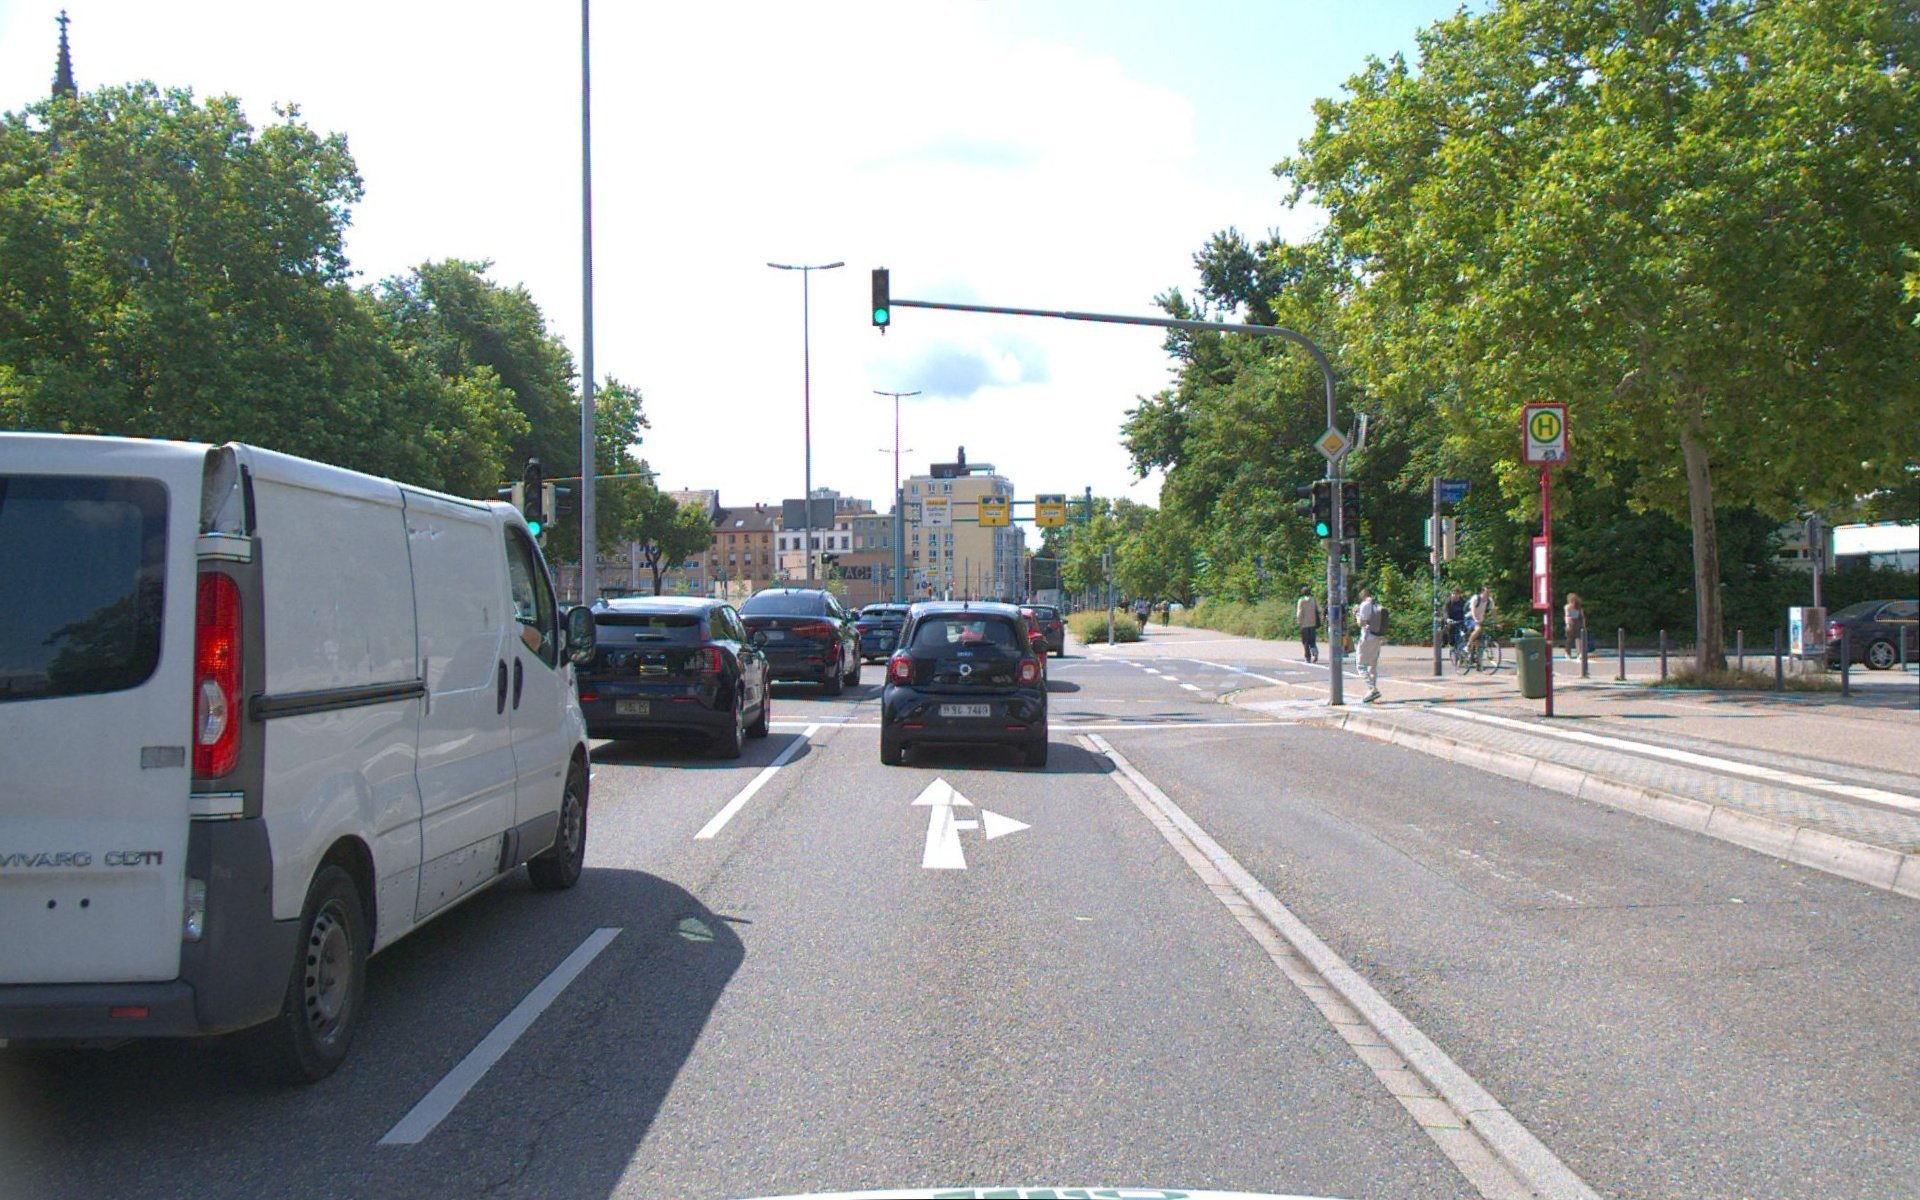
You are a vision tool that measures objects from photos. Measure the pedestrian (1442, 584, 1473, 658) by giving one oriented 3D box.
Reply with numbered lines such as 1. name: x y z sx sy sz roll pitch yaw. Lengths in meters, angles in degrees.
1. pedestrian: 12.535 0.525 41.675 0.656 1.852 0.704 0 0 10

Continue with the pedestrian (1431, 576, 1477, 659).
1. pedestrian: 11.399 0.393 38.217 0.835 1.851 1.177 2 0 10

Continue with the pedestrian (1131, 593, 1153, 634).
1. pedestrian: 7.926 0.576 71.904 0.833 1.730 0.931 -2 -1 2

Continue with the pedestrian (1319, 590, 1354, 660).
1. pedestrian: 9.408 0.614 41.389 0.778 1.734 1.183 0 0 10

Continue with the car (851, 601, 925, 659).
1. car: -1.741 0.711 40.681 1.578 1.348 3.518 0 0 1

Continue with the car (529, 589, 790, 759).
1. car: -3.021 0.692 17.695 1.976 1.557 4.885 0 0 -1

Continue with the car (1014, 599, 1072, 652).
1. car: 2.358 0.698 47.619 1.578 1.436 3.518 1 0 1

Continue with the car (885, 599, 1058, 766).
1. car: 0.151 0.770 17.061 1.578 1.511 3.518 1 0 1

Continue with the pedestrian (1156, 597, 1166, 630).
1. pedestrian: 11.860 0.799 97.553 0.491 1.924 0.560 1 -1 -1

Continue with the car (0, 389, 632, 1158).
1. car: -2.826 0.453 6.874 1.965 1.989 5.193 0 0 -1

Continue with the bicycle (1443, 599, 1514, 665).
1. bicycle: 10.797 0.654 34.489 0.648 1.319 1.870 1 -1 -9

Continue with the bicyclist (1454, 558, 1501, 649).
1. bicyclist: 10.812 0.076 34.572 0.648 1.878 0.760 1 -1 -8

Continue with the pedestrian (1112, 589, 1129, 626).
1. pedestrian: 8.751 0.402 90.186 0.821 2.003 0.861 0 -1 0

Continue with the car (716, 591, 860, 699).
1. car: -2.756 0.672 27.369 1.789 1.629 4.394 1 0 1

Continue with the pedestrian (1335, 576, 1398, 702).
1. pedestrian: 6.054 0.574 24.634 0.589 1.832 0.603 -2 0 -36

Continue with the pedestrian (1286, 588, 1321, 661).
1. pedestrian: 8.333 0.584 40.146 0.778 1.734 1.183 0 0 10

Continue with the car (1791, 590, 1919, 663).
1. car: 19.898 0.546 33.940 4.832 1.425 1.723 -1 -2 -2

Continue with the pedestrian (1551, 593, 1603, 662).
1. pedestrian: 15.379 0.679 41.252 0.838 1.654 1.019 -2 1 -5

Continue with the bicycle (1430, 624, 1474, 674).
1. bicycle: 11.330 1.113 38.129 0.798 1.091 1.893 0 0 11

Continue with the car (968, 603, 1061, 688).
1. car: 0.995 0.793 30.424 1.578 1.436 3.518 1 0 1
